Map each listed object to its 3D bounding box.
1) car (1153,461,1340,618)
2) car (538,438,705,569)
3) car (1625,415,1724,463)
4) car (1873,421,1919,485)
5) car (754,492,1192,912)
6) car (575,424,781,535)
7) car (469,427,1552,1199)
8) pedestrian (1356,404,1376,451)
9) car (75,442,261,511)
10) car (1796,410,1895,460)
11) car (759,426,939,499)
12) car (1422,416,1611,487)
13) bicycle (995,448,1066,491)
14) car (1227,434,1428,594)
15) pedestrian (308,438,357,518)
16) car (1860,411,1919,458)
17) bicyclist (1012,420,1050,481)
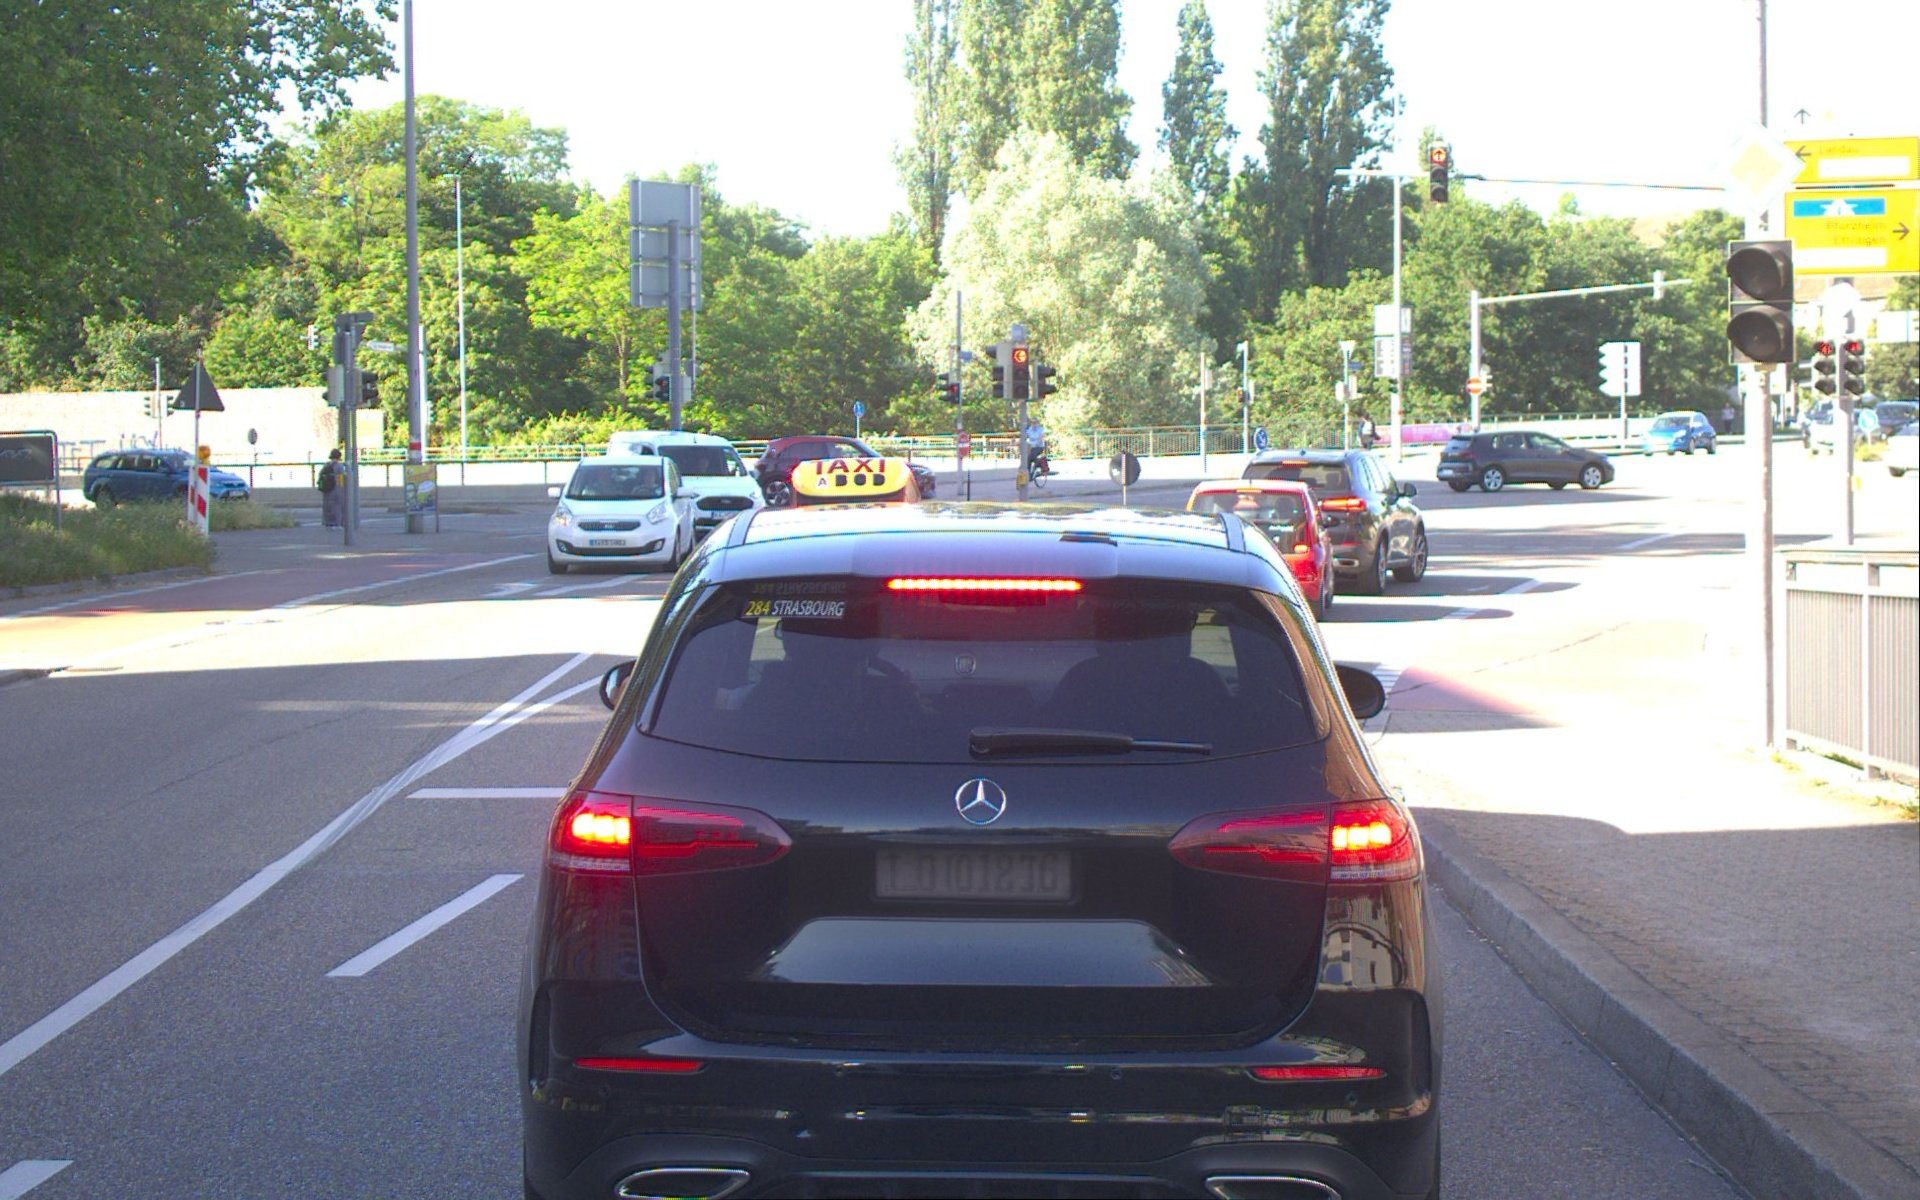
[{"bbox_3d":[3.168,-0.702,37.485,1.722,1.516,3.485,0,4,10],"label":"car"},{"bbox_3d":[-4.705,-1.390,48.244,1.778,1.629,4.001,-1,4,2],"label":"car"},{"bbox_3d":[24.608,-5.544,118.339,1.882,1.572,3.992,1,4,35],"label":"car"},{"bbox_3d":[25.453,-3.826,89.224,1.889,1.624,3.991,1,3,40],"label":"car"},{"bbox_3d":[0.087,0.337,14.862,1.640,1.524,3.474,-1,3,1],"label":"car"},{"bbox_3d":[-4.919,-2.090,59.297,1.917,1.788,4.900,-3,3,-25],"label":"car"},{"bbox_3d":[0.047,0.453,8.021,1.877,1.607,4.001,1,2,-1],"label":"car"},{"bbox_3d":[13.786,-5.865,116.761,0.451,1.580,0.500,1,3,40],"label":"pedestrian"},{"bbox_3d":[-19.233,-2.996,83.441,4.405,1.624,1.887,1,3,34],"label":"car"},{"bbox_3d":[29.115,-5.419,112.961,1.882,1.572,3.992,1,4,35],"label":"car"},{"bbox_3d":[-2.533,-3.157,79.118,3.987,1.624,1.891,0,2,3],"label":"car"},{"bbox_3d":[13.180,-3.510,81.416,3.986,1.624,1.892,-1,2,-19],"label":"car"},{"bbox_3d":[1.831,-3.351,88.499,1.984,1.046,0.527,-4,3,-42],"label":"bicycle"},{"bbox_3d":[4.677,-1.122,43.213,1.723,1.805,4.295,0,4,17],"label":"car"},{"bbox_3d":[-12.035,-2.341,65.945,0.705,1.520,0.743,1,2,10],"label":"pedestrian"},{"bbox_3d":[32.562,-5.702,118.144,1.882,1.572,3.992,1,4,35],"label":"car"},{"bbox_3d":[1.829,-3.840,88.468,0.805,1.545,0.527,-4,3,-42],"label":"bicyclist"}]
